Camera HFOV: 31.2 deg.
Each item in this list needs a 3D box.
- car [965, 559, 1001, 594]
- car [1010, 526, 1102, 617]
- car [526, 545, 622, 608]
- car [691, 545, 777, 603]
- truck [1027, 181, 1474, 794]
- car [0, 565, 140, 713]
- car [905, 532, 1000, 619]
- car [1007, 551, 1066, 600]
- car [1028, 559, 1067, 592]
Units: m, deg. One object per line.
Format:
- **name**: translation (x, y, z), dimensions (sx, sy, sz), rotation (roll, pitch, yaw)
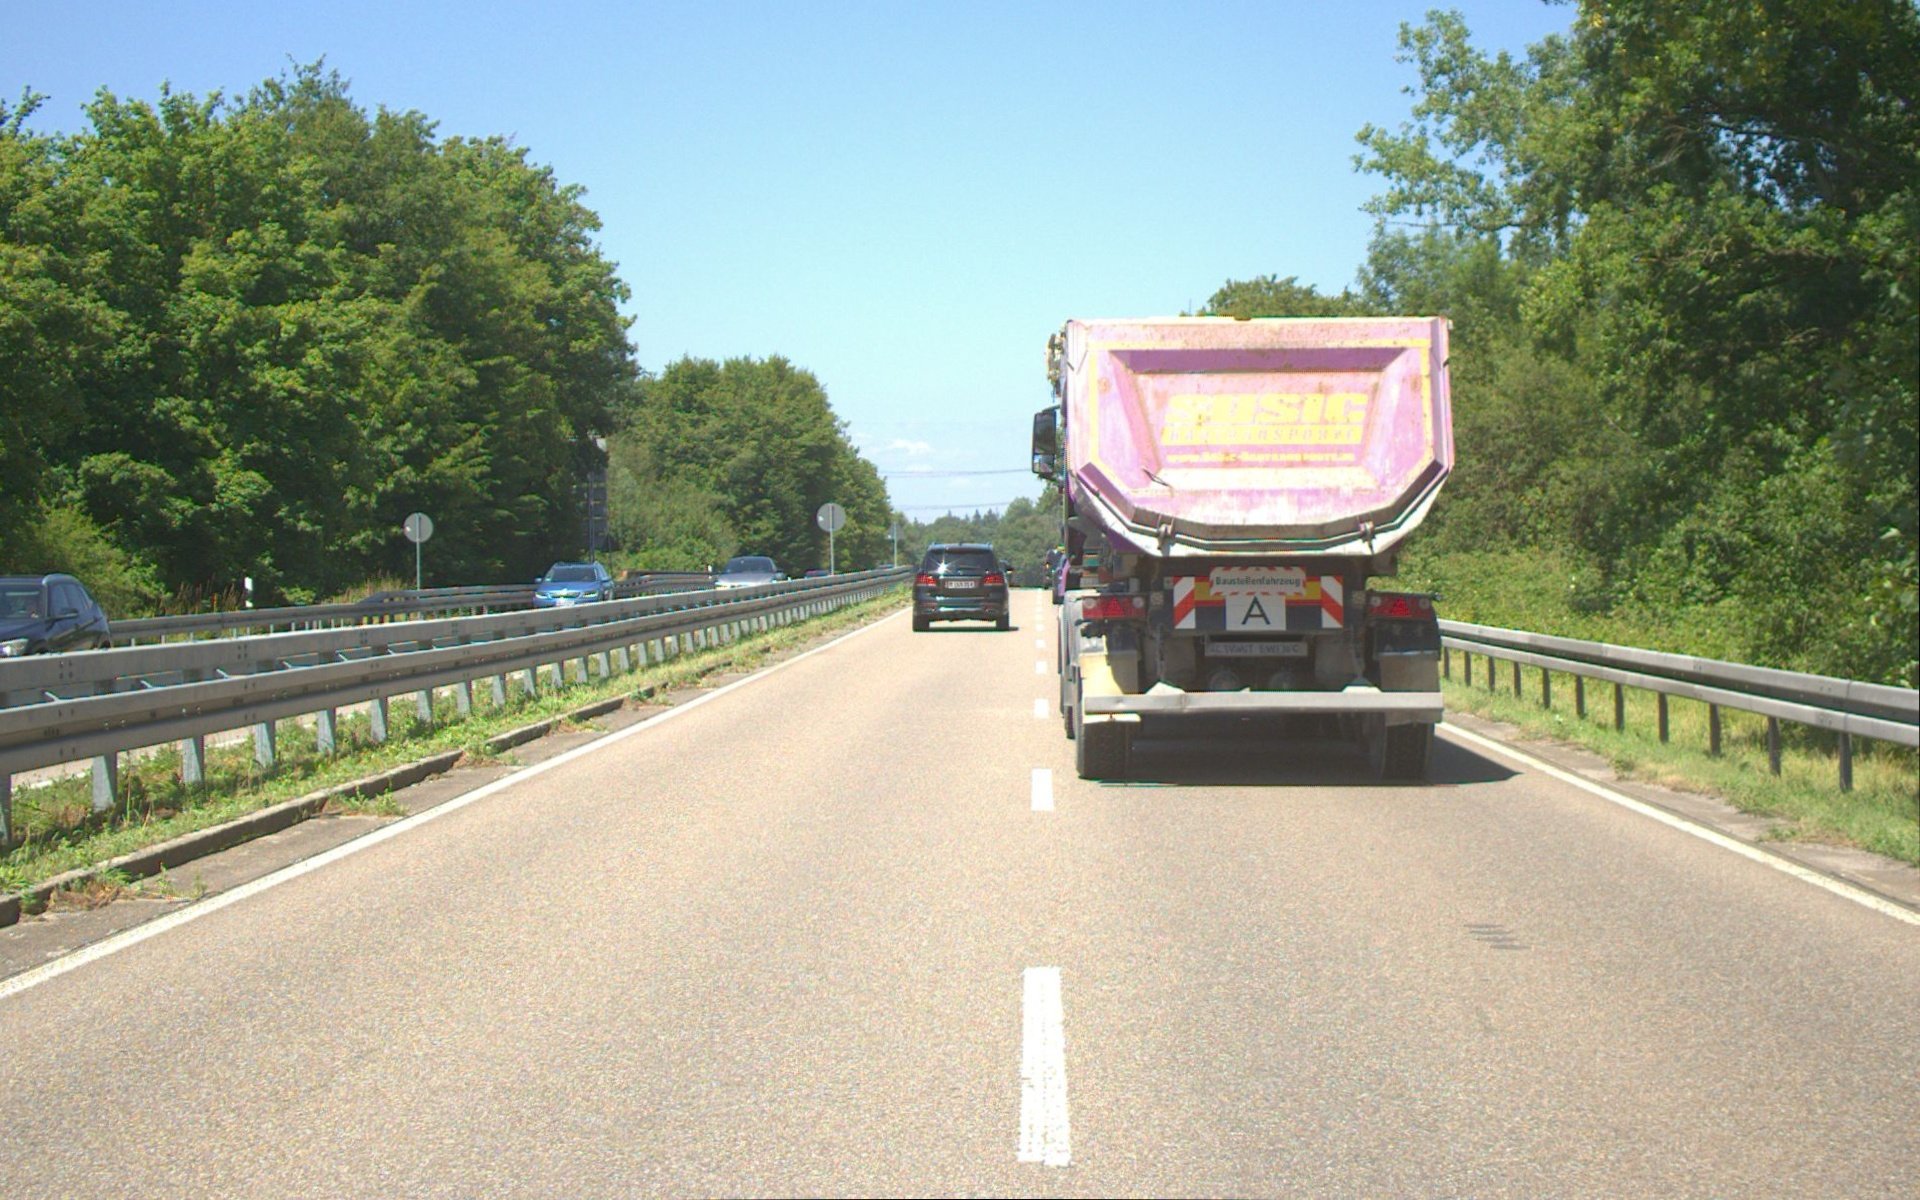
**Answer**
- **car**: translation (1.213, -1.225, 180.064), dimensions (1.857, 1.712, 4.000), rotation (0, -1, 0)
- **car**: translation (2.275, -0.699, 82.493), dimensions (1.993, 2.070, 4.000), rotation (-2, 1, 0)
- **car**: translation (-10.157, -0.644, 90.840), dimensions (1.812, 1.537, 4.928), rotation (-2, 1, 1)
- **car**: translation (-6.831, -0.810, 104.374), dimensions (1.994, 1.626, 4.552), rotation (-2, 1, 3)
- **truck**: translation (1.978, -0.810, 28.174), dimensions (2.720, 3.916, 12.370), rotation (0, 1, 1)
- **car**: translation (-11.164, 0.441, 40.406), dimensions (1.779, 1.614, 4.505), rotation (-2, 1, 2)
- **car**: translation (-0.133, -0.464, 69.389), dimensions (1.857, 1.666, 4.000), rotation (0, -1, 0)
- **car**: translation (2.291, -0.750, 103.993), dimensions (1.603, 1.415, 3.523), rotation (-2, 1, -1)
- **car**: translation (4.007, -1.135, 157.422), dimensions (1.603, 1.415, 3.523), rotation (-2, 1, -1)
